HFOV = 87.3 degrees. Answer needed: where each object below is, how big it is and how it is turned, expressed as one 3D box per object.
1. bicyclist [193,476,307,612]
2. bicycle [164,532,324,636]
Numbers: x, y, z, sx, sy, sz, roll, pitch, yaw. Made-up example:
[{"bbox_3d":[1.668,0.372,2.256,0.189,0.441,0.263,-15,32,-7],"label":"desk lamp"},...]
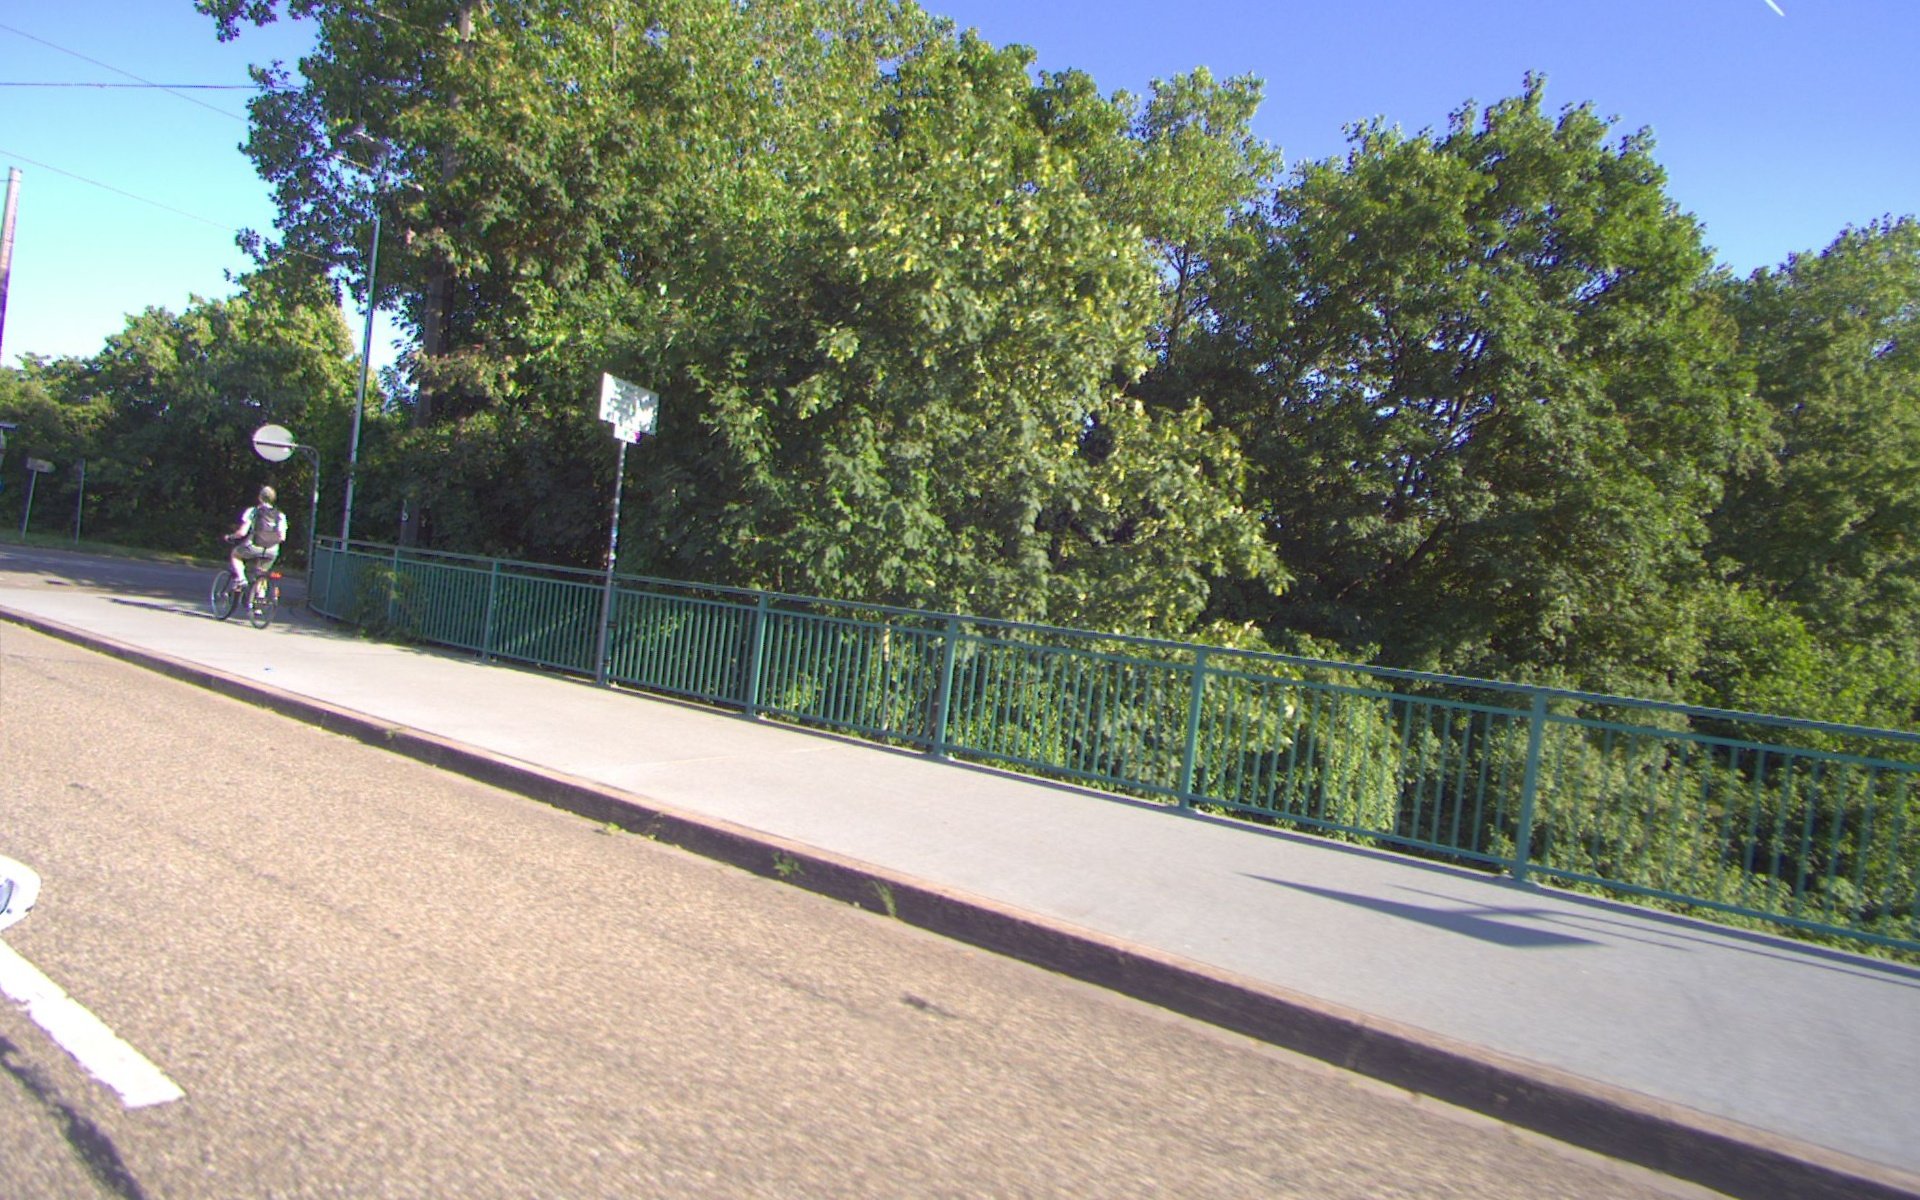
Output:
[{"bbox_3d":[-9.773,-0.771,13.853,1.182,1.710,0.732,7,0,32],"label":"bicyclist"},{"bbox_3d":[-9.925,-0.242,13.902,2.697,1.136,0.732,7,0,32],"label":"bicycle"}]
